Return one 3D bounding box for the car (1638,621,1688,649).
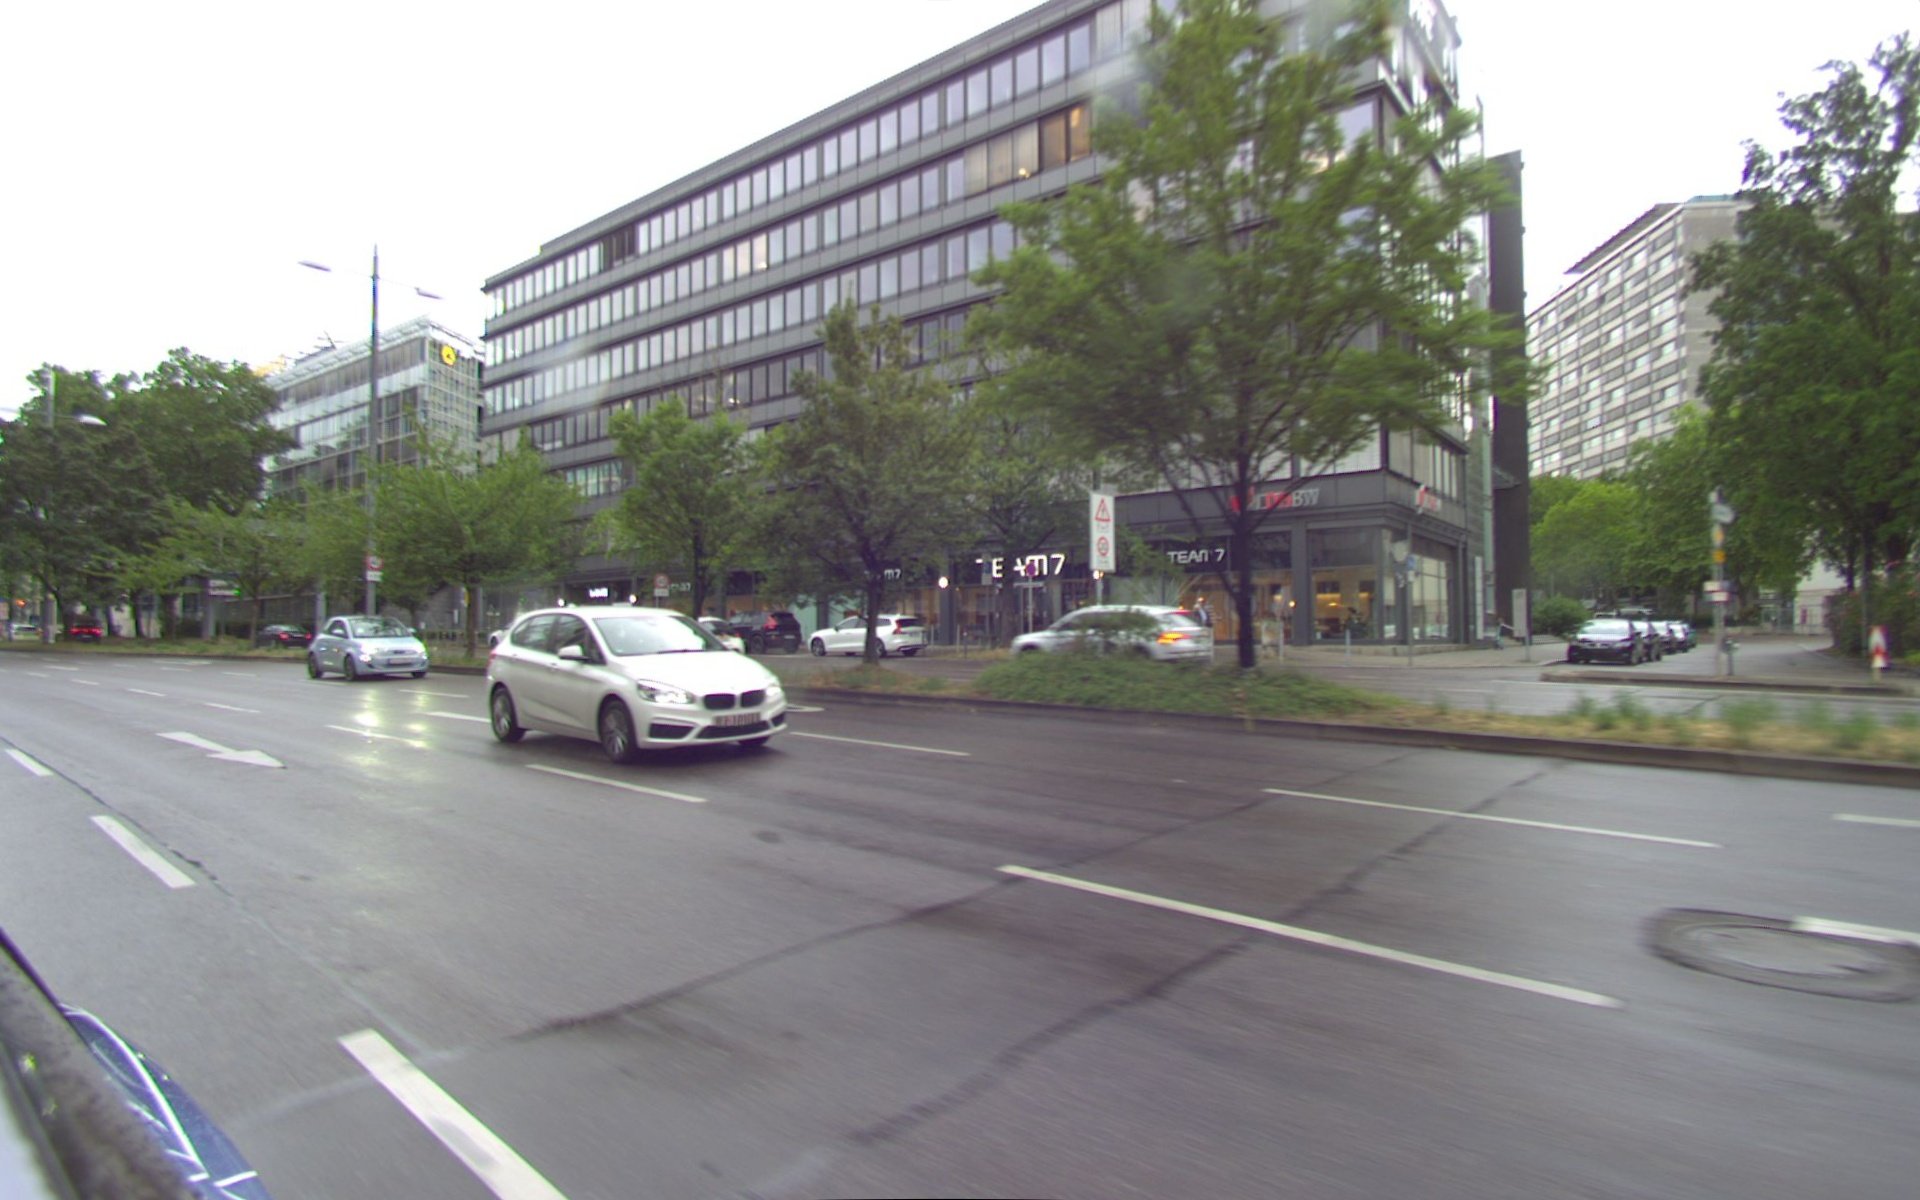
[{"bbox_3d":[36.393,1.782,52.375,1.845,1.298,3.947,-1,-1,39],"label":"car"}]

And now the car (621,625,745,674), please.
[{"bbox_3d":[-8.784,1.533,31.957,4.076,1.442,1.667,-2,-1,37],"label":"car"}]

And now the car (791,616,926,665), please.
[{"bbox_3d":[-3.607,1.386,35.434,4.767,1.496,1.791,-2,2,39],"label":"car"}]

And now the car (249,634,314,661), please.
[{"bbox_3d":[-38.924,2.697,58.052,4.293,1.487,1.792,-2,-2,36],"label":"car"}]

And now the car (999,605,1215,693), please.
[{"bbox_3d":[3.178,1.048,22.461,4.491,1.741,1.719,-2,-1,41],"label":"car"}]

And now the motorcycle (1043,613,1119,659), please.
[{"bbox_3d":[3.903,1.160,32.516,2.345,1.404,0.856,-1,2,12],"label":"motorcycle"}]

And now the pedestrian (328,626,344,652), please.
[{"bbox_3d":[-44.617,2.765,72.358,0.924,1.812,0.720,-1,-1,38],"label":"pedestrian"}]

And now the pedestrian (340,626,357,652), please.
[{"bbox_3d":[-44.105,2.781,72.982,0.924,1.846,0.720,-1,-1,38],"label":"pedestrian"}]

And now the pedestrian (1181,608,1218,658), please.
[{"bbox_3d":[8.065,1.111,34.088,0.964,1.650,0.776,-2,-2,38],"label":"pedestrian"}]

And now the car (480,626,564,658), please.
[{"bbox_3d":[-21.414,2.020,49.430,4.301,1.455,1.793,-2,-1,36],"label":"car"}]

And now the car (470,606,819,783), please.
[{"bbox_3d":[-3.617,0.907,11.163,4.286,1.585,1.764,-2,-2,42],"label":"car"}]

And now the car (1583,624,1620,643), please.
[{"bbox_3d":[53.908,2.838,85.093,1.797,1.464,3.973,-1,0,20],"label":"car"}]

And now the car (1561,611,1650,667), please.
[{"bbox_3d":[20.829,1.202,32.589,1.998,1.652,3.948,-1,-1,38],"label":"car"}]

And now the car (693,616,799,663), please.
[{"bbox_3d":[-8.351,1.504,39.329,4.307,1.673,1.790,-2,-1,40],"label":"car"}]

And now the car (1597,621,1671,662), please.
[{"bbox_3d":[24.062,1.425,36.097,1.845,1.298,3.948,-1,-1,39],"label":"car"}]

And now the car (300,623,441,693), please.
[{"bbox_3d":[-14.403,1.367,24.668,3.686,1.585,1.766,-2,-2,38],"label":"car"}]

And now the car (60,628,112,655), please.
[{"bbox_3d":[-62.974,2.988,72.895,4.710,1.527,1.792,4,2,37],"label":"car"}]

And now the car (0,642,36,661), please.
[{"bbox_3d":[-76.720,4.156,82.210,4.304,1.445,1.712,-2,-2,37],"label":"car"}]
